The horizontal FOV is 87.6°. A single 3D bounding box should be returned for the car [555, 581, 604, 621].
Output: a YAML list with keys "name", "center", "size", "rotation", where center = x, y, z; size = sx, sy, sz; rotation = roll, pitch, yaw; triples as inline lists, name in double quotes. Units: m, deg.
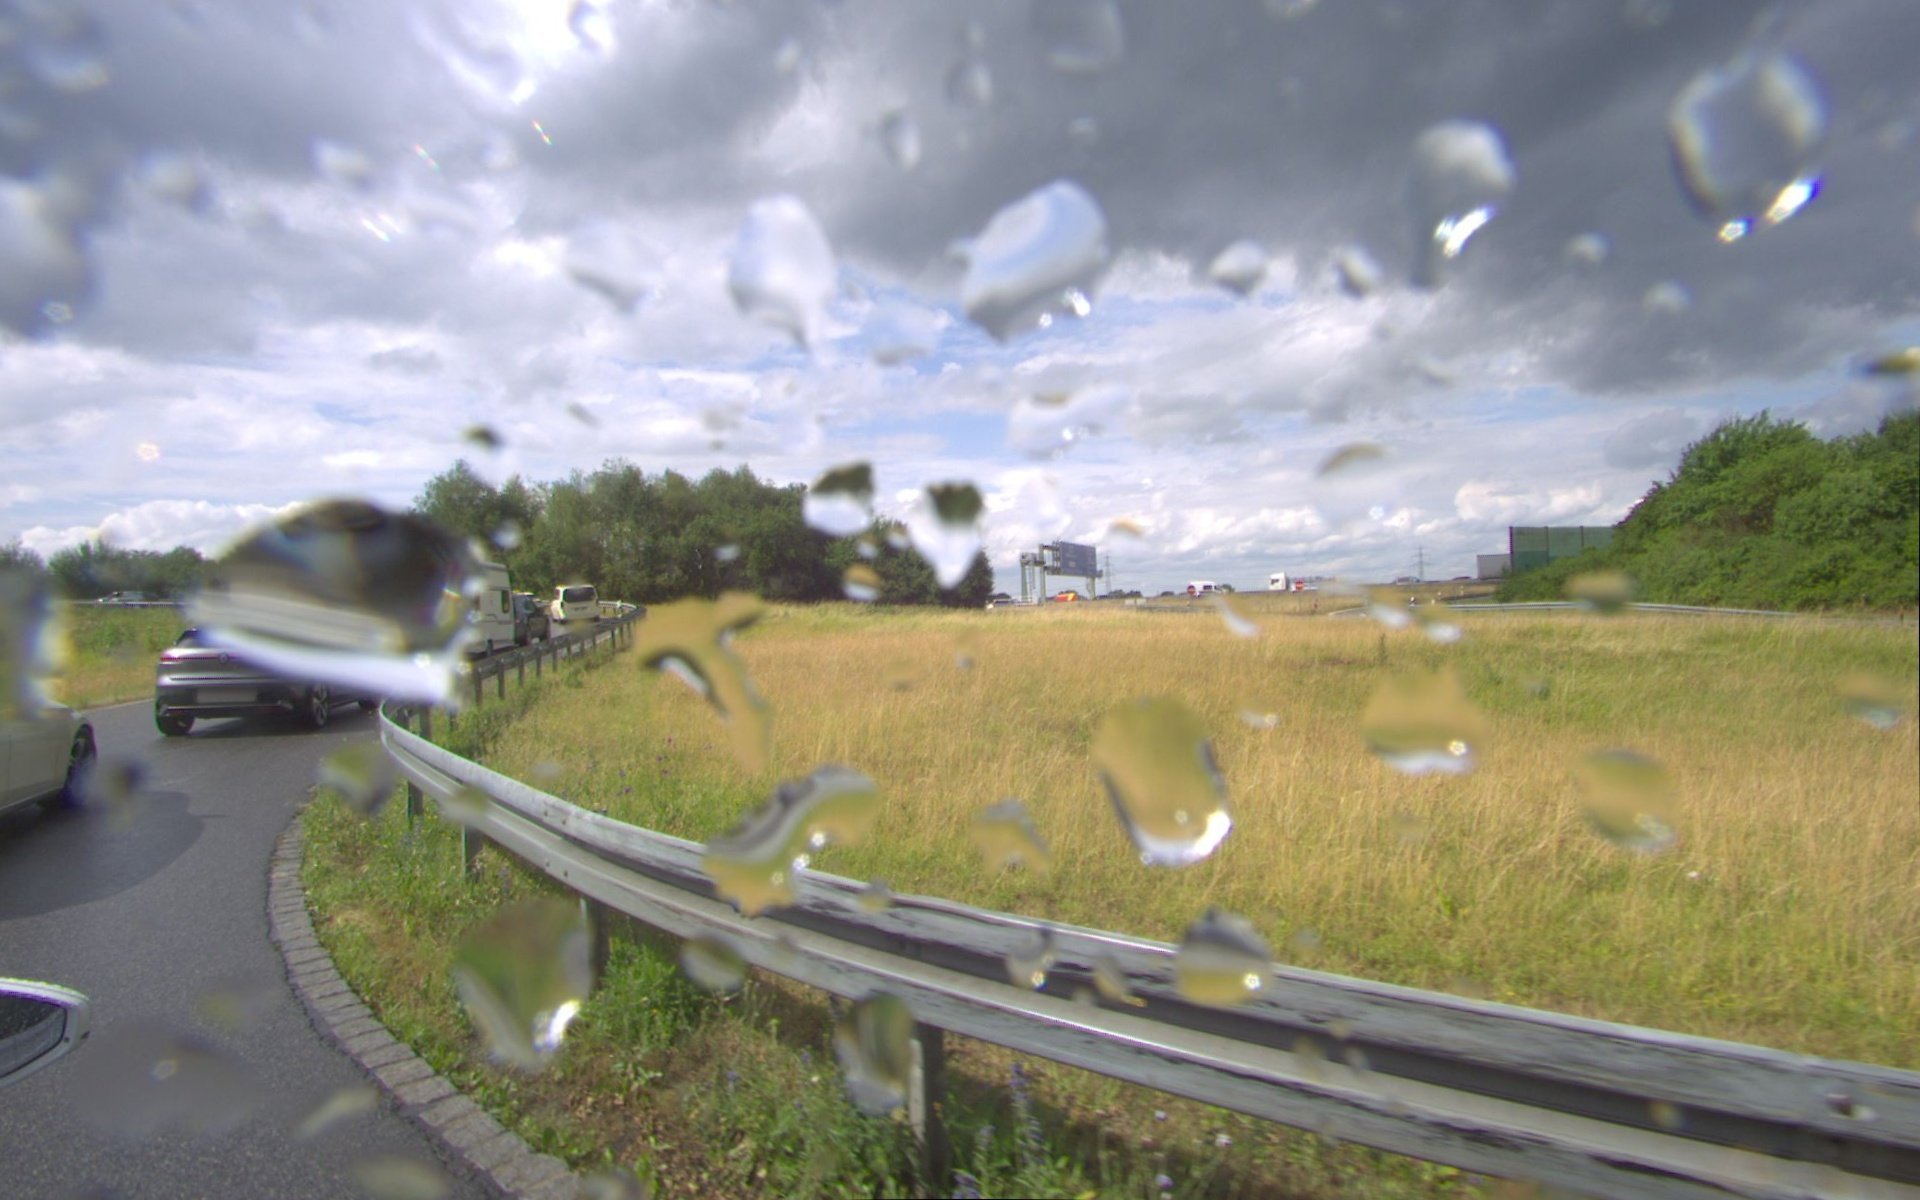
- name: "car"
  center: [-19.357, 0.087, 50.837]
  size: [1.968, 1.886, 5.040]
  rotation: [-2, 0, -24]

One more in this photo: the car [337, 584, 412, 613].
- name: "car"
  center: [-42.557, -0.112, 72.784]
  size: [4.969, 1.886, 1.996]
  rotation: [-2, 0, 20]

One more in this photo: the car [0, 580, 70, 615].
- name: "car"
  center: [-69.625, -0.184, 74.900]
  size: [3.928, 2.038, 1.999]
  rotation: [-6, -2, -16]

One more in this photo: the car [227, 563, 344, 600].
- name: "car"
  center: [-49.991, -1.368, 74.304]
  size: [6.848, 2.630, 2.874]
  rotation: [-1, 1, 5]

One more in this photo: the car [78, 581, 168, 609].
- name: "car"
  center: [-63.203, -0.358, 75.650]
  size: [4.959, 1.886, 2.000]
  rotation: [-2, 0, -3]

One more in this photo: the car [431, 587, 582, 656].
- name: "car"
  center: [-14.047, 0.610, 31.491]
  size: [2.389, 1.951, 5.759]
  rotation: [-1, 0, -3]

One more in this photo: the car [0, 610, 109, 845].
- name: "car"
  center: [-7.224, 0.824, 6.341]
  size: [1.894, 1.527, 4.574]
  rotation: [0, -1, -29]

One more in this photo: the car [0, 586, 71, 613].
- name: "car"
  center: [-70.320, -0.023, 75.248]
  size: [4.960, 1.886, 1.999]
  rotation: [-2, 0, -6]

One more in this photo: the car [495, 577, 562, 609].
- name: "car"
  center: [-27.913, -0.420, 64.709]
  size: [5.000, 1.886, 1.983]
  rotation: [-2, 0, 41]

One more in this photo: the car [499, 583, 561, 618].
- name: "car"
  center: [-25.462, 0.074, 59.199]
  size: [1.979, 1.884, 5.015]
  rotation: [4, -4, -40]

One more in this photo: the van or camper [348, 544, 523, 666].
- name: "van or camper"
  center: [-13.305, 0.165, 25.938]
  size: [2.393, 2.765, 5.997]
  rotation: [0, -1, -11]

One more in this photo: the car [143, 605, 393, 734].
- name: "car"
  center: [-9.553, 0.855, 14.211]
  size: [1.693, 1.545, 3.993]
  rotation: [0, 0, -16]
